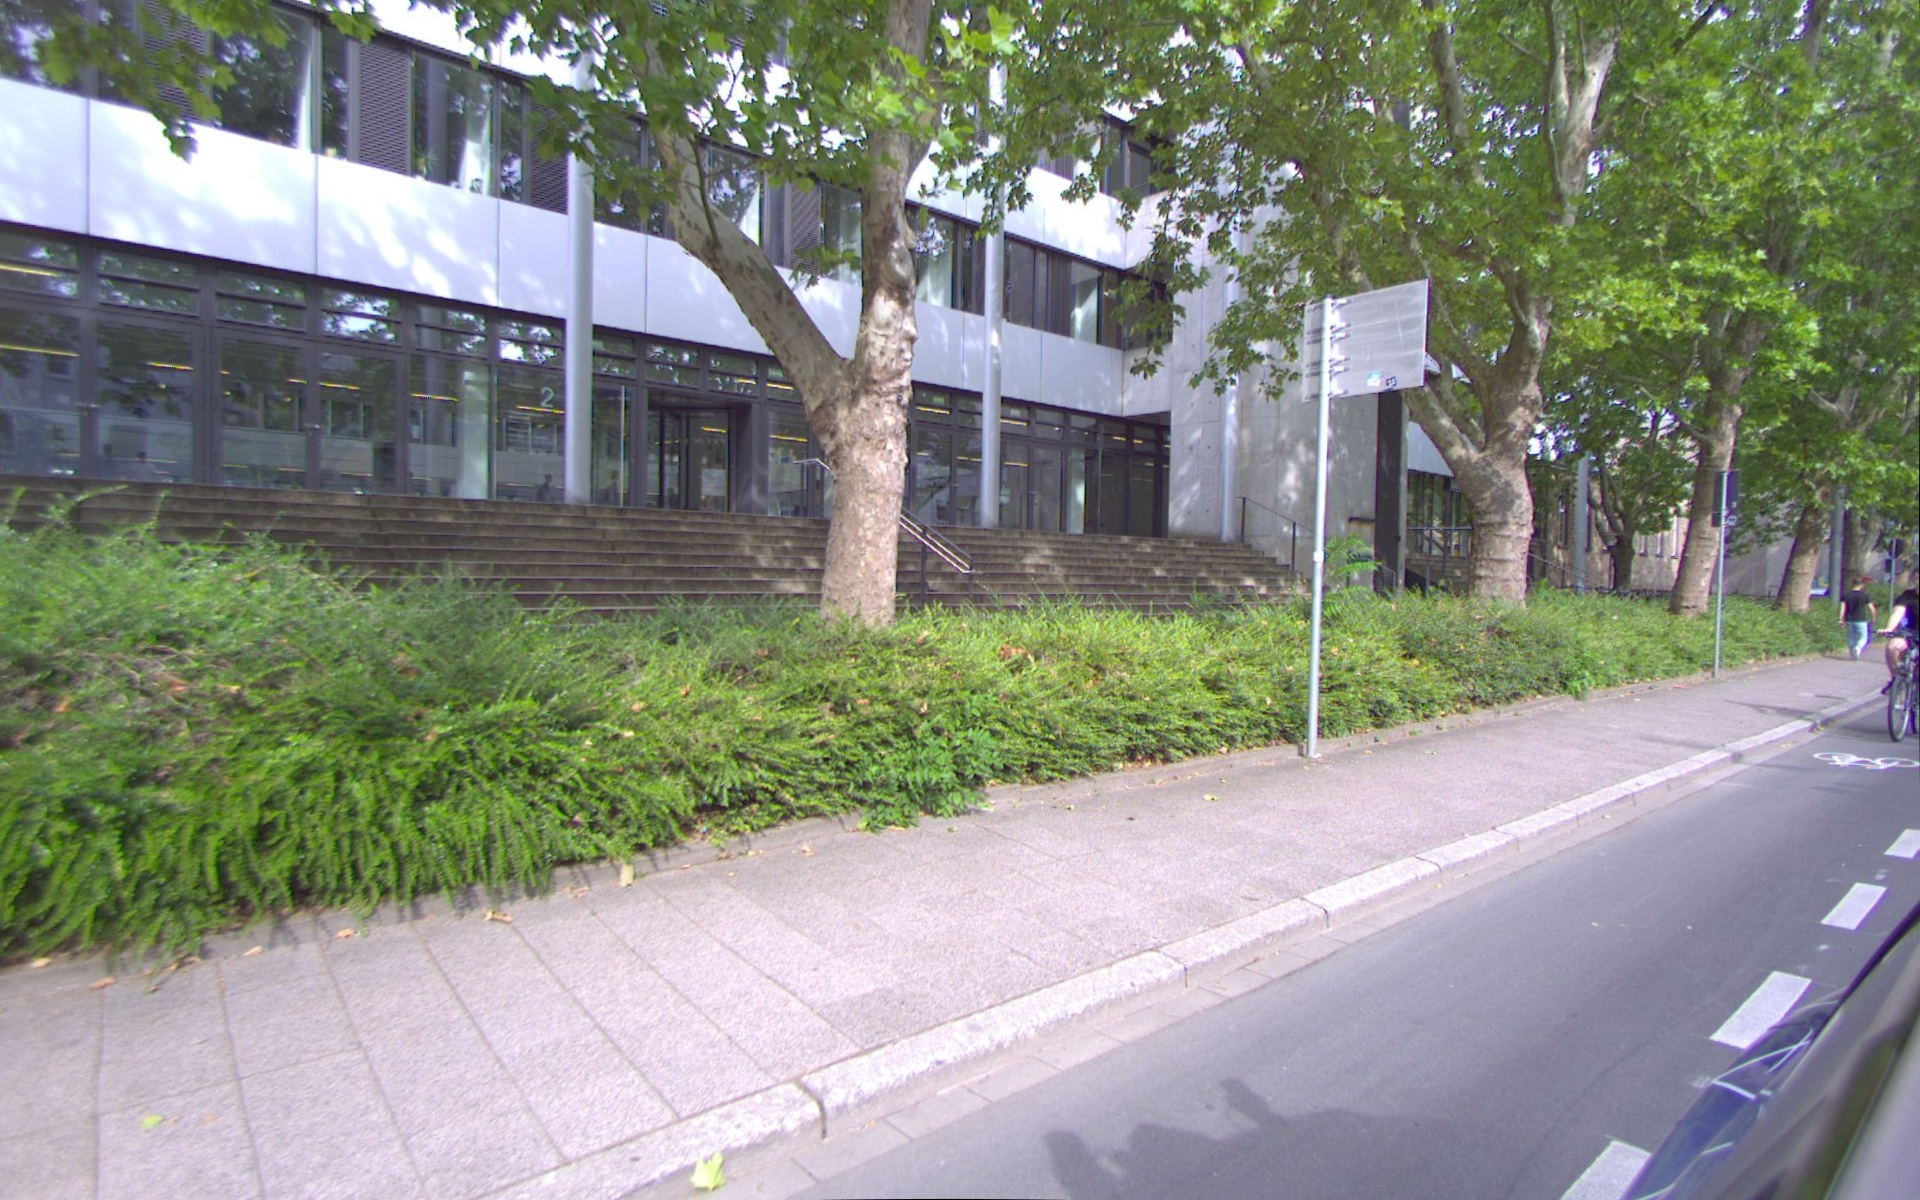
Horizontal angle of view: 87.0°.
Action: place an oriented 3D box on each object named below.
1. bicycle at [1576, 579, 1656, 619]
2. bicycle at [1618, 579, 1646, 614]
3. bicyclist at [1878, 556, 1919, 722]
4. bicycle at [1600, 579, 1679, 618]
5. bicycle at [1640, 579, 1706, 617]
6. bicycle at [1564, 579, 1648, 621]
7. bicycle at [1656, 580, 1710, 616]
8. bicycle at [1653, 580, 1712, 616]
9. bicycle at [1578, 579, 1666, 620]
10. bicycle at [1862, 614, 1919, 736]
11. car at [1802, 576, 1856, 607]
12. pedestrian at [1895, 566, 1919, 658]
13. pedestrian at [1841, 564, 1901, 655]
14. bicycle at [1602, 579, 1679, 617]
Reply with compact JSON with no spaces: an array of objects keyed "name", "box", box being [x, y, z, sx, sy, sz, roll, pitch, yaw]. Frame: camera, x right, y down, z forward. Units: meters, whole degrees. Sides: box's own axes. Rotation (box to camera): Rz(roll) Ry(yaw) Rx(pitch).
[{"name":"bicycle","box":[20.323,-0.061,31.381,0.661,1.131,1.919,0,3,-40]},{"name":"bicycle","box":[22.585,-0.111,33.995,0.491,1.131,1.415,4,3,44]},{"name":"bicyclist","box":[10.381,0.404,10.746,0.900,1.730,0.765,0,1,-36]},{"name":"bicycle","box":[21.308,-0.067,31.766,0.661,1.131,1.919,0,3,-40]},{"name":"bicycle","box":[23.239,-0.076,33.016,1.686,1.131,0.616,3,2,32]},{"name":"bicycle","box":[18.825,-0.019,29.525,0.661,1.131,1.919,0,3,-40]},{"name":"bicycle","box":[24.077,-0.077,33.732,1.378,1.131,0.461,4,3,43]},{"name":"bicycle","box":[24.368,-0.084,34.166,1.539,1.131,0.461,4,3,43]},{"name":"bicycle","box":[19.838,-0.037,30.360,0.661,1.131,2.084,0,3,-40]},{"name":"bicycle","box":[10.353,0.767,10.740,1.913,1.183,0.764,0,1,-36]},{"name":"car","box":[46.277,-0.454,53.880,4.223,1.468,1.671,2,0,-42]},{"name":"pedestrian","box":[19.501,0.236,20.446,1.016,1.805,0.712,-1,4,-41]},{"name":"pedestrian","box":[18.971,0.177,21.070,1.016,1.821,0.716,-1,4,-41]},{"name":"bicycle","box":[21.951,-0.088,32.666,0.661,1.131,1.919,0,3,-40]}]
